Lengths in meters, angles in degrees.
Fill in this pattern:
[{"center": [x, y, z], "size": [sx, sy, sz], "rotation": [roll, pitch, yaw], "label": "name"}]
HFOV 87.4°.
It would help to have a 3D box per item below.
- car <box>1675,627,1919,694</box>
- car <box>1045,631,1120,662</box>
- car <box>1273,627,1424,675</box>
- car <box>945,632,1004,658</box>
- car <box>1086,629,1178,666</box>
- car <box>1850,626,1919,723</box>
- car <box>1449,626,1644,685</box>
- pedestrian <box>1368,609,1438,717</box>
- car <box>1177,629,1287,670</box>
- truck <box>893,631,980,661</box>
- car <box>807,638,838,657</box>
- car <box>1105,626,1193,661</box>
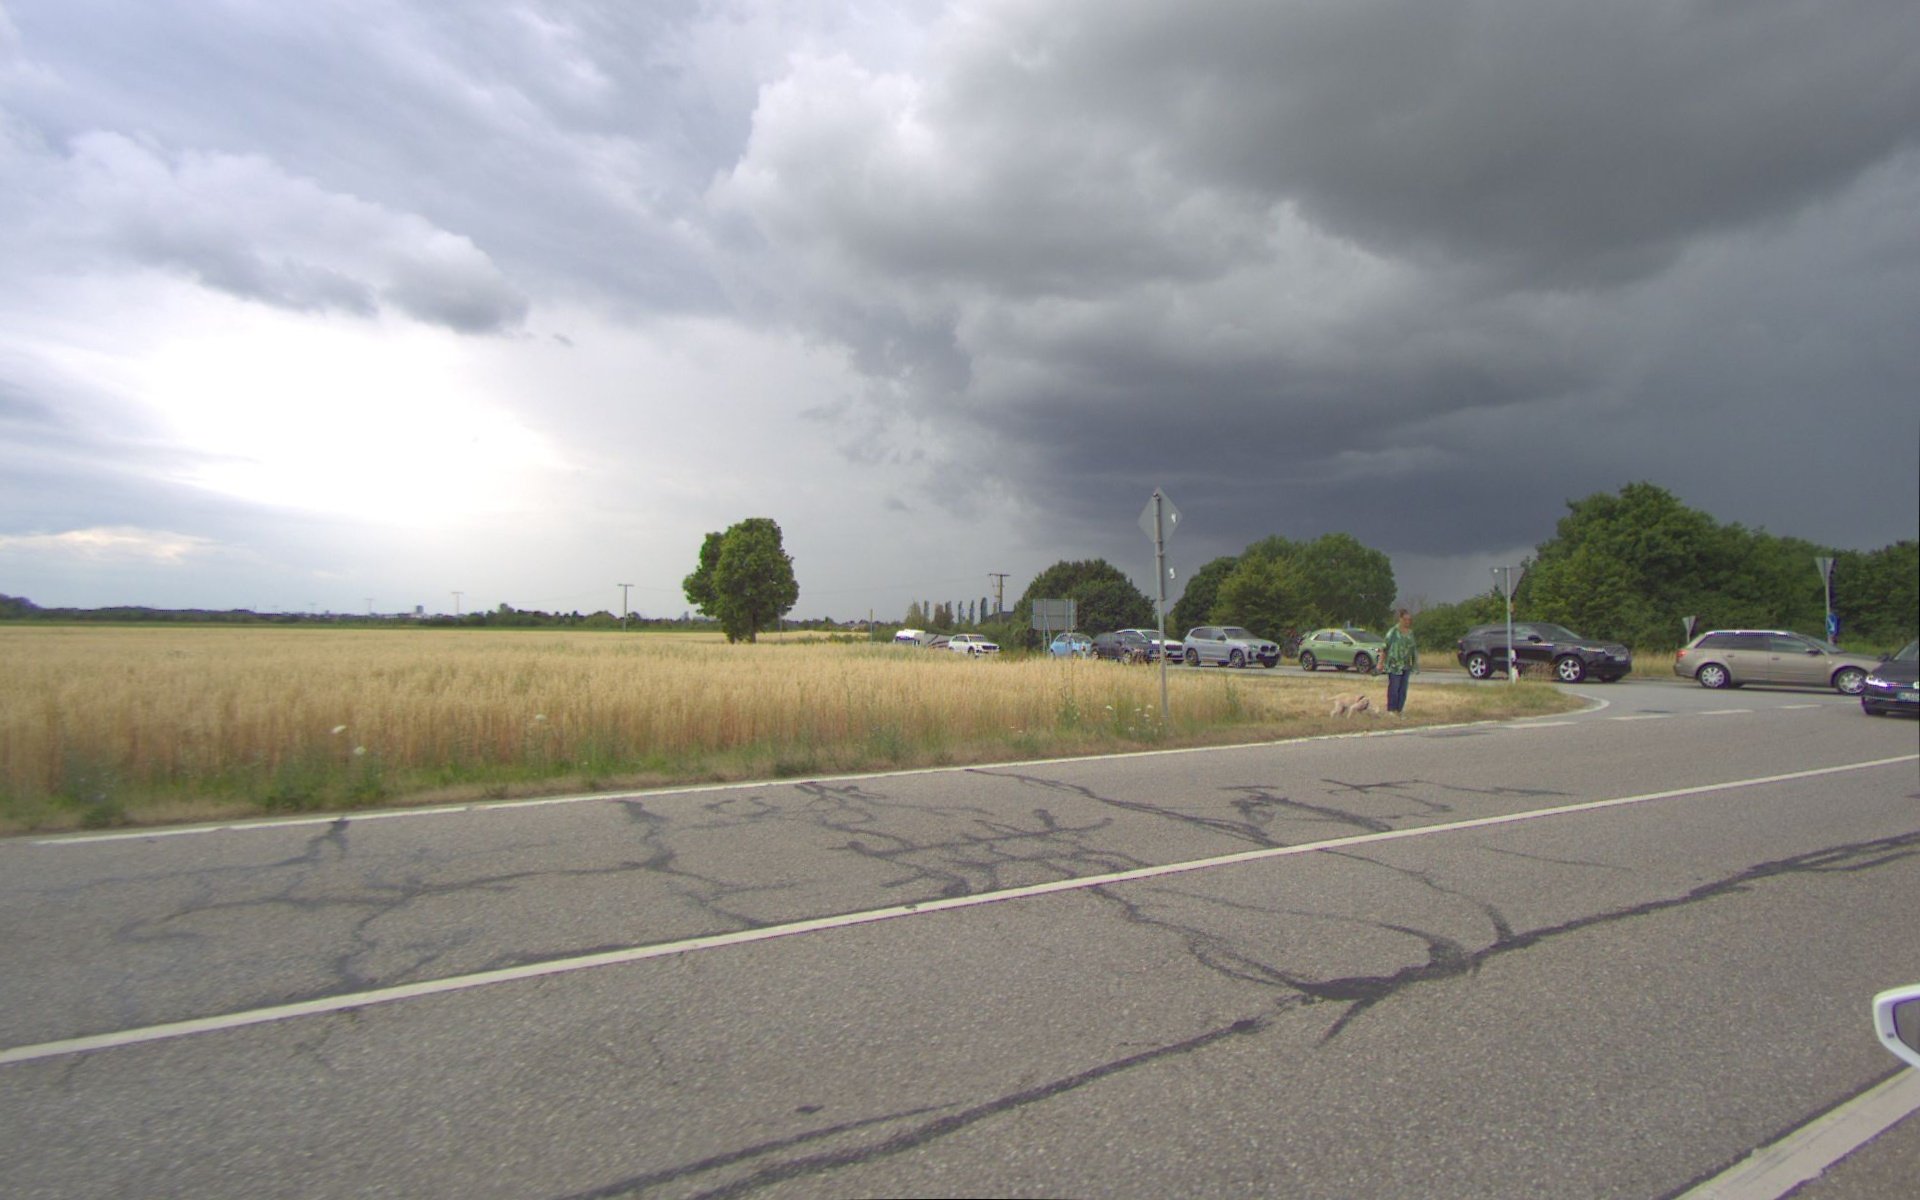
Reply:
[{"center": [20.253, 1.400, 24.362], "size": [1.894, 1.443, 4.417], "rotation": [2, -2, -38], "label": "car"}, {"center": [6.324, 2.409, 52.364], "size": [1.884, 1.502, 4.480], "rotation": [1, -2, -24], "label": "car"}, {"center": [13.668, 1.776, 35.763], "size": [1.884, 1.541, 5.272], "rotation": [1, -2, -23], "label": "car"}, {"center": [0.865, 2.810, 62.776], "size": [1.886, 1.502, 4.475], "rotation": [1, -2, -27], "label": "car"}, {"center": [7.479, 2.059, 44.047], "size": [1.884, 1.502, 4.387], "rotation": [1, -2, -24], "label": "car"}, {"center": [17.447, 1.285, 17.486], "size": [4.345, 1.541, 1.671], "rotation": [2, 0, -31], "label": "car"}, {"center": [16.888, 1.544, 29.237], "size": [1.884, 1.552, 4.728], "rotation": [1, -2, -24], "label": "car"}, {"center": [6.854, 0.972, 15.545], "size": [0.857, 1.626, 0.590], "rotation": [2, -4, -33], "label": "pedestrian"}, {"center": [11.061, 1.979, 41.199], "size": [1.884, 1.537, 4.613], "rotation": [1, -2, -24], "label": "car"}, {"center": [-2.381, 5.117, 114.037], "size": [2.748, 3.174, 16.306], "rotation": [0, -2, 26], "label": "truck"}, {"center": [-13.188, 4.513, 96.381], "size": [1.872, 1.703, 4.509], "rotation": [1, -1, 7], "label": "car"}, {"center": [8.798, 2.010, 47.051], "size": [1.884, 1.502, 4.480], "rotation": [1, -2, -24], "label": "car"}]
